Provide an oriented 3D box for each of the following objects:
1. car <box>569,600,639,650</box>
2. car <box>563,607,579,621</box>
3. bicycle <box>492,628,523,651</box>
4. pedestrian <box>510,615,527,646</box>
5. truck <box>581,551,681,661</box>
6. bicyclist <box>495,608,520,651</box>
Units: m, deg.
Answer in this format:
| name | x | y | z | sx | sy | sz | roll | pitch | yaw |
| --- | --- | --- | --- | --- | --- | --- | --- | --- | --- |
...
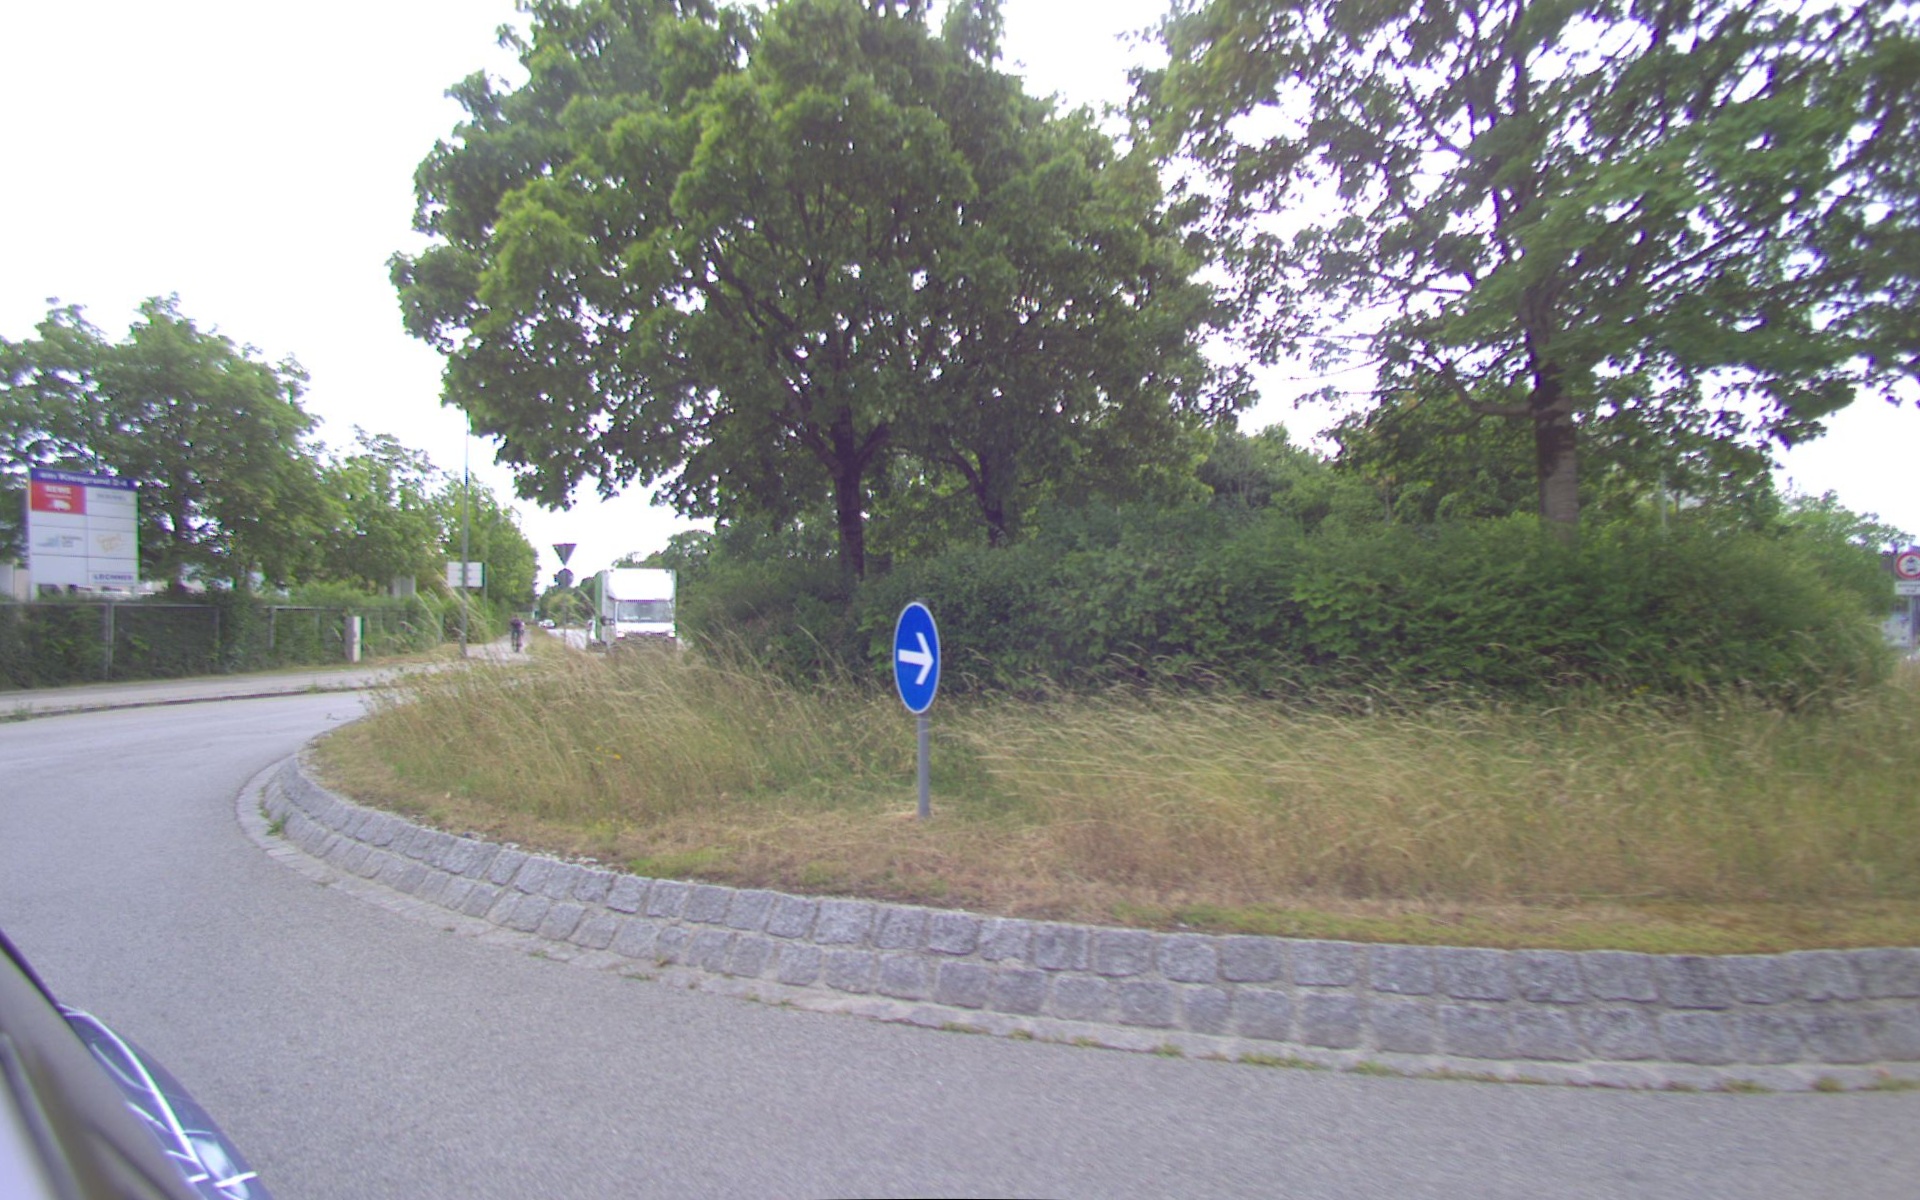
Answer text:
| name | x | y | z | sx | sy | sz | roll | pitch | yaw |
| --- | --- | --- | --- | --- | --- | --- | --- | --- | --- |
| car | -16.584 | 1.121 | 46.950 | 2.571 | 2.142 | 5.742 | -1 | -1 | -24 |
| car | -60.572 | 2.166 | 157.392 | 2.002 | 2.142 | 5.742 | -1 | -1 | -24 |
| bicycle | -19.458 | 1.699 | 43.484 | 0.950 | 0.882 | 2.503 | 4 | -2 | -29 |
| pedestrian | -22.151 | 1.544 | 50.800 | 0.536 | 1.542 | 0.846 | 2 | -2 | -40 |
| truck | -11.821 | 0.223 | 35.880 | 2.571 | 3.474 | 7.531 | -1 | -1 | -24 |
| bicyclist | -19.507 | 1.257 | 43.654 | 0.798 | 1.802 | 0.982 | 4 | -3 | -29 |
